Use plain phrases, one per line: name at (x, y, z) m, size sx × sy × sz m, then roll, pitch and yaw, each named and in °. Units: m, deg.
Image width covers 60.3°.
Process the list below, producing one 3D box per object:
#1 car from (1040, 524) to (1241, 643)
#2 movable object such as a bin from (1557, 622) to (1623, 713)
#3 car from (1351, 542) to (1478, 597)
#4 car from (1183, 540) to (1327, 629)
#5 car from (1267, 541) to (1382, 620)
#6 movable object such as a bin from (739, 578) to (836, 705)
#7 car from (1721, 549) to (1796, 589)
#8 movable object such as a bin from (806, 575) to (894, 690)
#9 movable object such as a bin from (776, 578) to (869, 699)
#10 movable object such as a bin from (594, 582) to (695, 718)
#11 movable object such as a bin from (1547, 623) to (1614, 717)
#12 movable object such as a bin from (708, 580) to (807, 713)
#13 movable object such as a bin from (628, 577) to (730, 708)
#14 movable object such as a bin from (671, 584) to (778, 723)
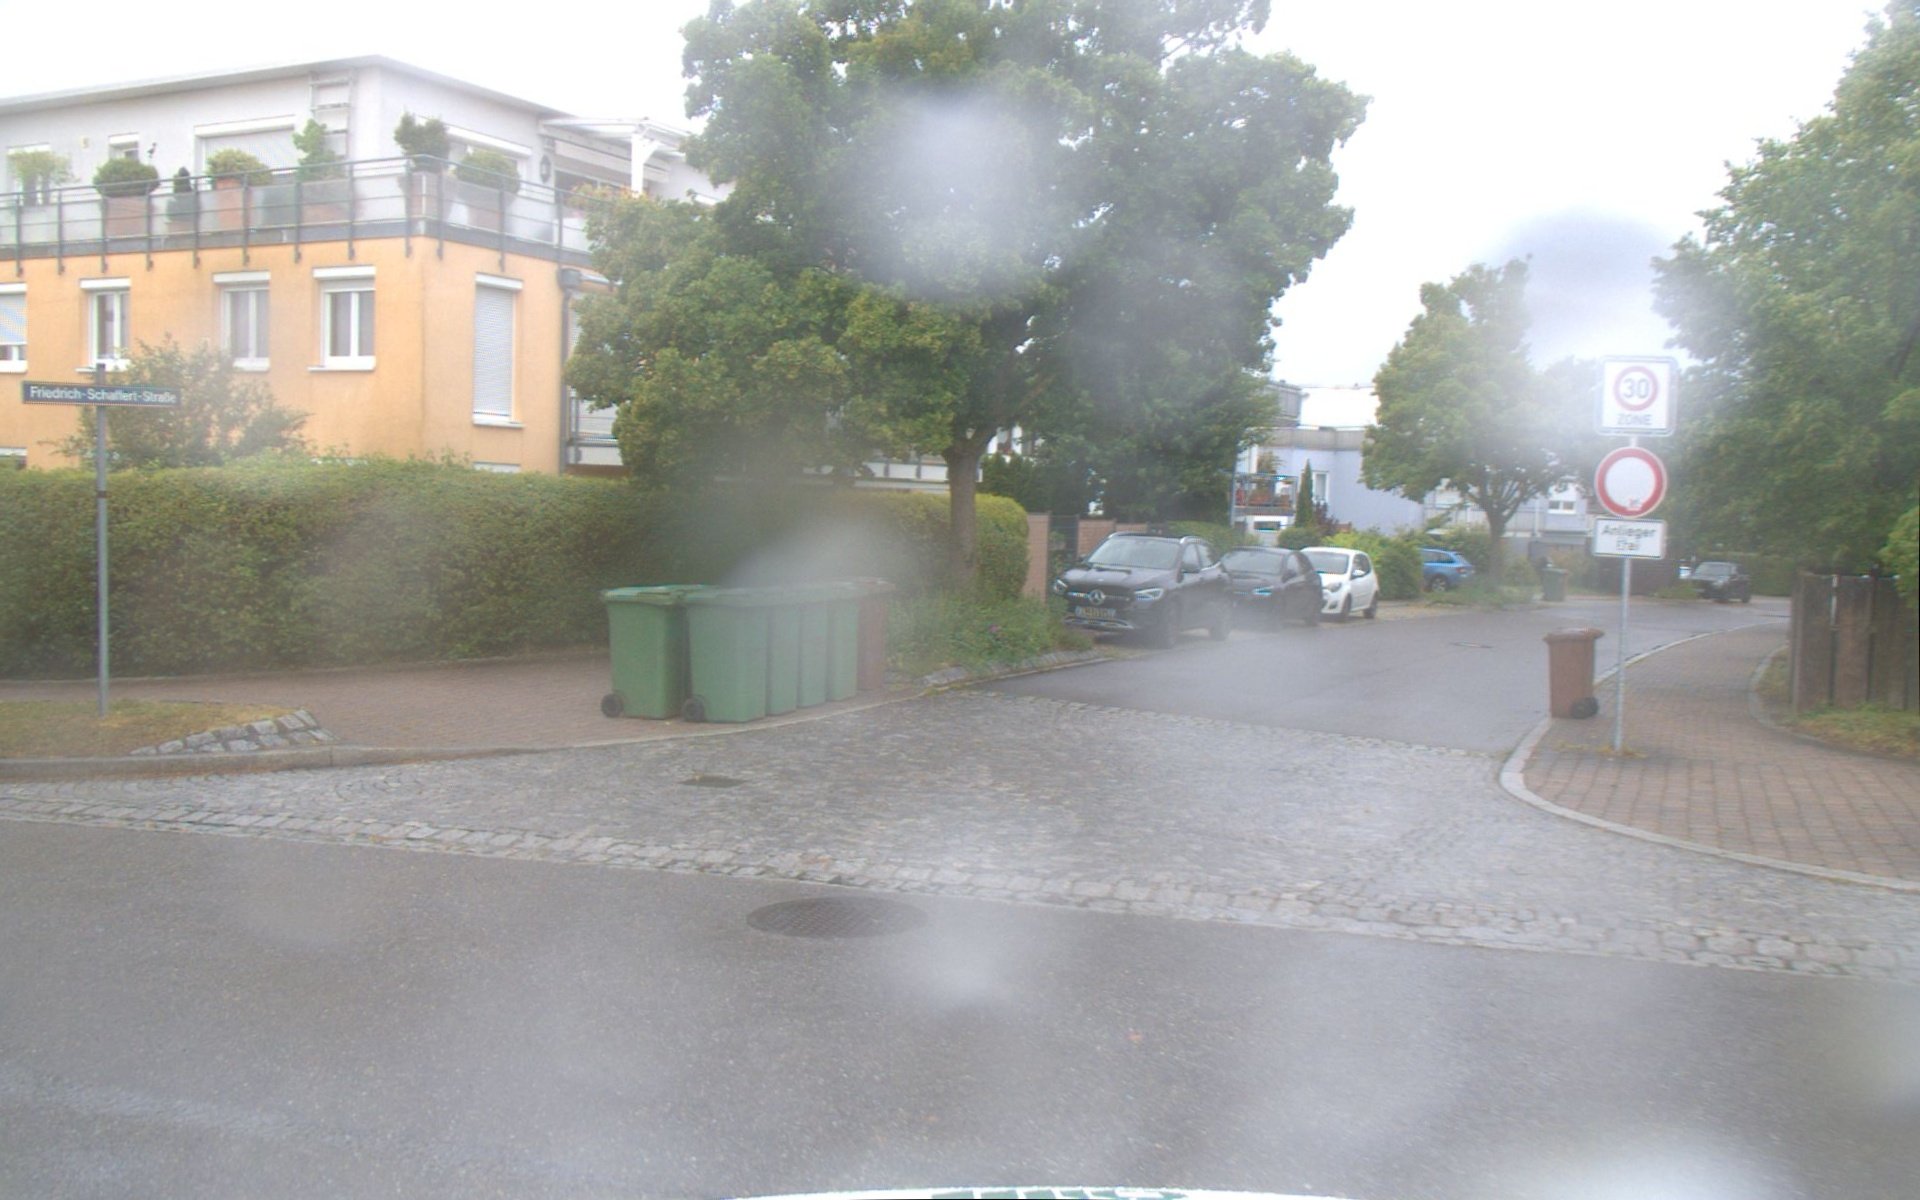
car at (2.849, -0.283, 25.276) m, size 1.741 × 1.544 × 4.135 m, roll 5°, pitch 3°, yaw 25°
movable object such as a bin at (7.002, 0.743, 18.380) m, size 0.560 × 0.947 × 0.529 m, roll 3°, pitch 2°, yaw 30°
car at (15.359, -1.041, 55.857) m, size 3.906 × 1.595 × 1.908 m, roll 4°, pitch 2°, yaw 22°
car at (5.518, -0.316, 30.654) m, size 1.604 × 1.433 × 3.601 m, roll 5°, pitch 3°, yaw 26°
car at (7.759, -0.430, 35.045) m, size 1.482 × 1.501 × 3.269 m, roll 5°, pitch 3°, yaw 28°
movable object such as a bin at (-1.555, 0.364, 14.946) m, size 0.679 × 1.085 × 0.579 m, roll 2°, pitch 2°, yaw 17°
car at (38.311, -1.472, 79.364) m, size 3.813 × 1.841 × 1.774 m, roll 0°, pitch 3°, yaw -39°
movable object such as a bin at (-1.080, 0.306, 16.264) m, size 0.679 × 1.073 × 0.606 m, roll 2°, pitch 2°, yaw 17°
movable object such as a bin at (-1.286, 0.344, 15.517) m, size 0.679 × 1.073 × 0.606 m, roll 2°, pitch 2°, yaw 17°
movable object such as a bin at (-2.668, 0.408, 13.996) m, size 0.651 × 1.092 × 0.544 m, roll 2°, pitch 2°, yaw 18°
movable object such as a bin at (6.709, 0.749, 17.876) m, size 0.560 × 0.947 × 0.529 m, roll 3°, pitch 2°, yaw 30°
movable object such as a bin at (-1.755, 0.391, 14.390) m, size 0.679 × 1.093 × 0.544 m, roll 2°, pitch 2°, yaw 17°
movable object such as a bin at (-2.468, 0.362, 14.570) m, size 0.679 × 1.091 × 0.598 m, roll 2°, pitch 2°, yaw 17°
movable object such as a bin at (-1.961, 0.429, 13.795) m, size 0.679 × 1.093 × 0.602 m, roll 2°, pitch 2°, yaw 17°
